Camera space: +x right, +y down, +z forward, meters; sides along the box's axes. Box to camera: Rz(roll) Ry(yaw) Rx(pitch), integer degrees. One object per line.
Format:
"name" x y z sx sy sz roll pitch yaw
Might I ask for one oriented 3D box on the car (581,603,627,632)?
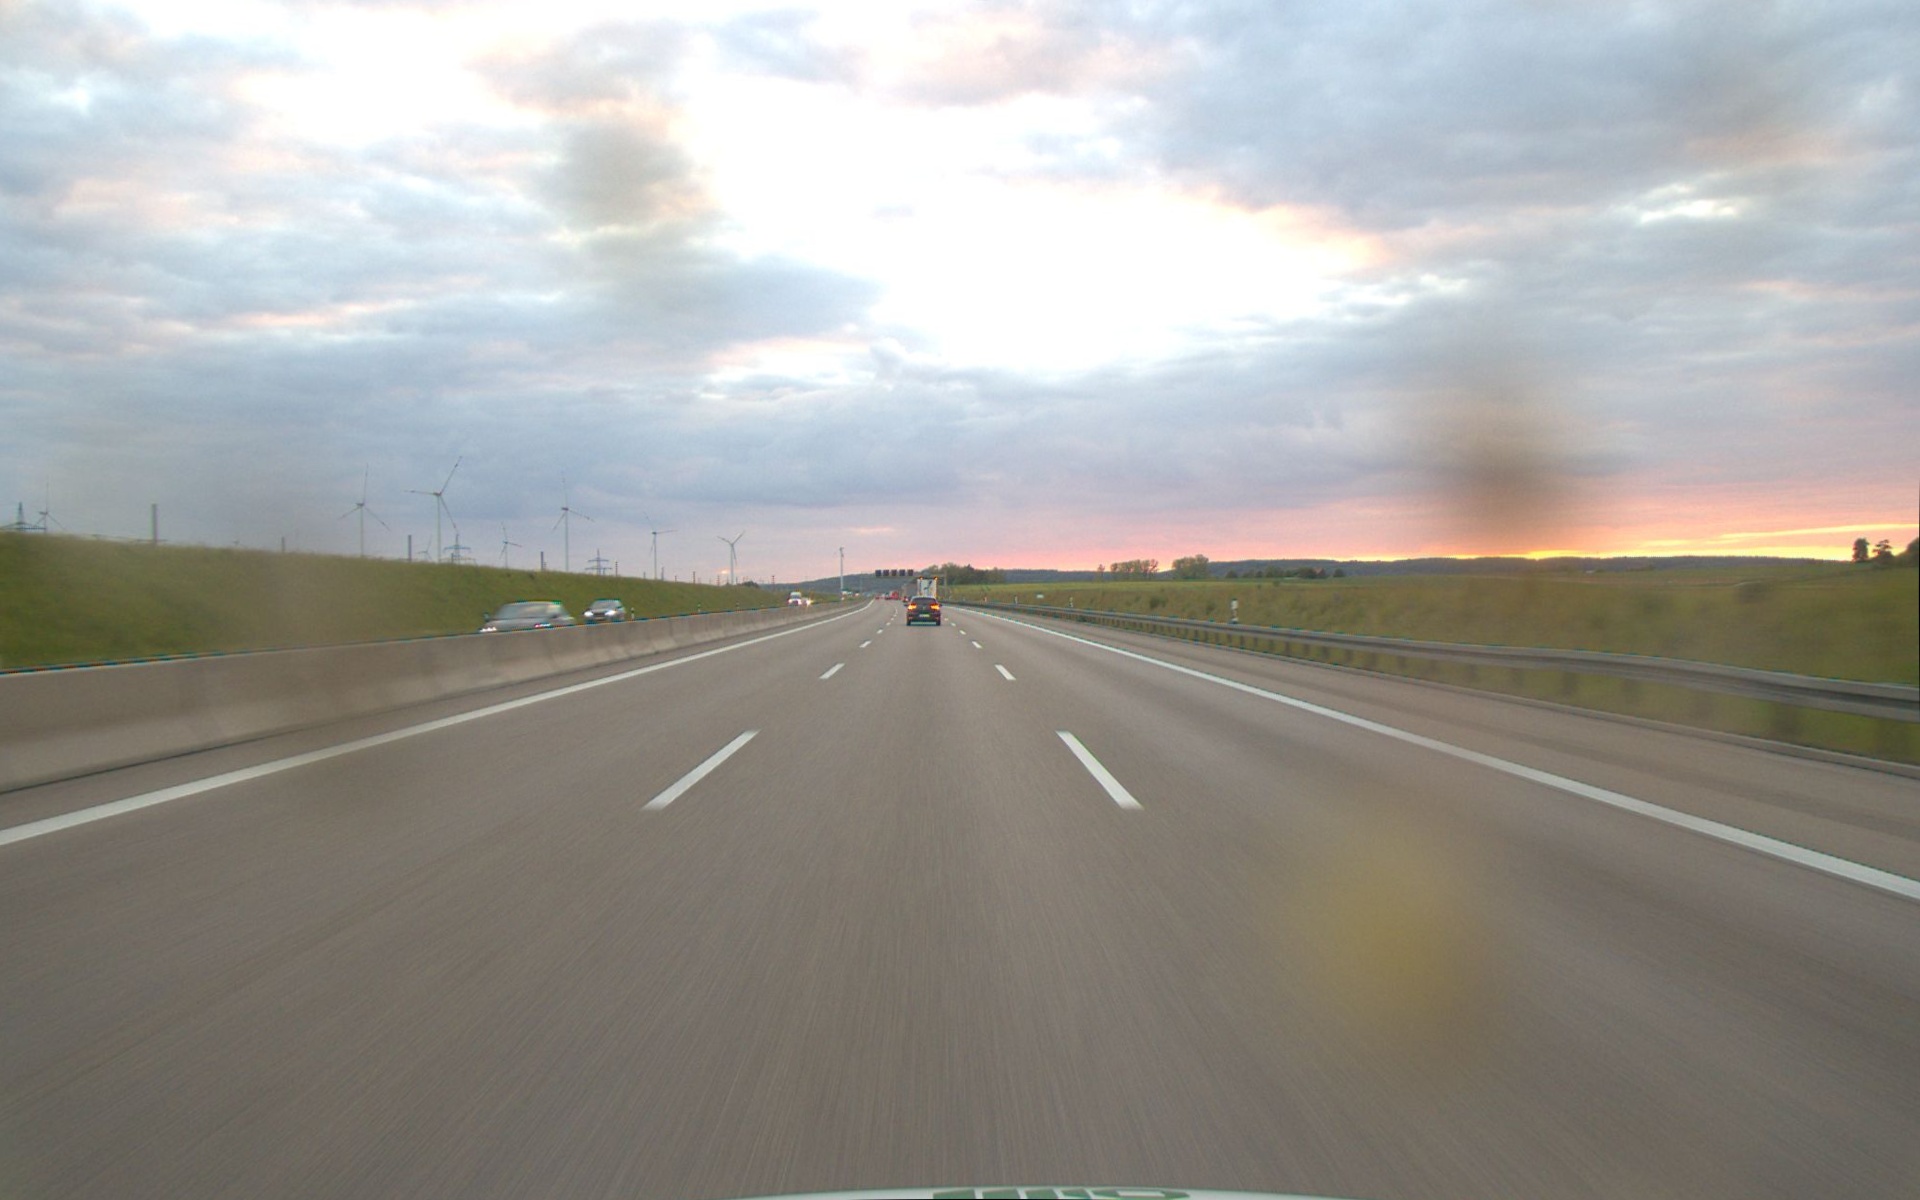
"car" -20.894 1.016 97.155 1.824 1.580 4.580 -2 0 -2

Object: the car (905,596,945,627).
"car" -1.739 0.556 83.551 1.947 1.454 4.000 -1 1 0

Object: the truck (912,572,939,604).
"truck" -5.272 -1.815 249.881 3.602 4.644 10.974 -1 0 -3

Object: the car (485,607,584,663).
"car" -11.942 0.938 46.708 1.711 1.409 4.493 -2 0 -2
